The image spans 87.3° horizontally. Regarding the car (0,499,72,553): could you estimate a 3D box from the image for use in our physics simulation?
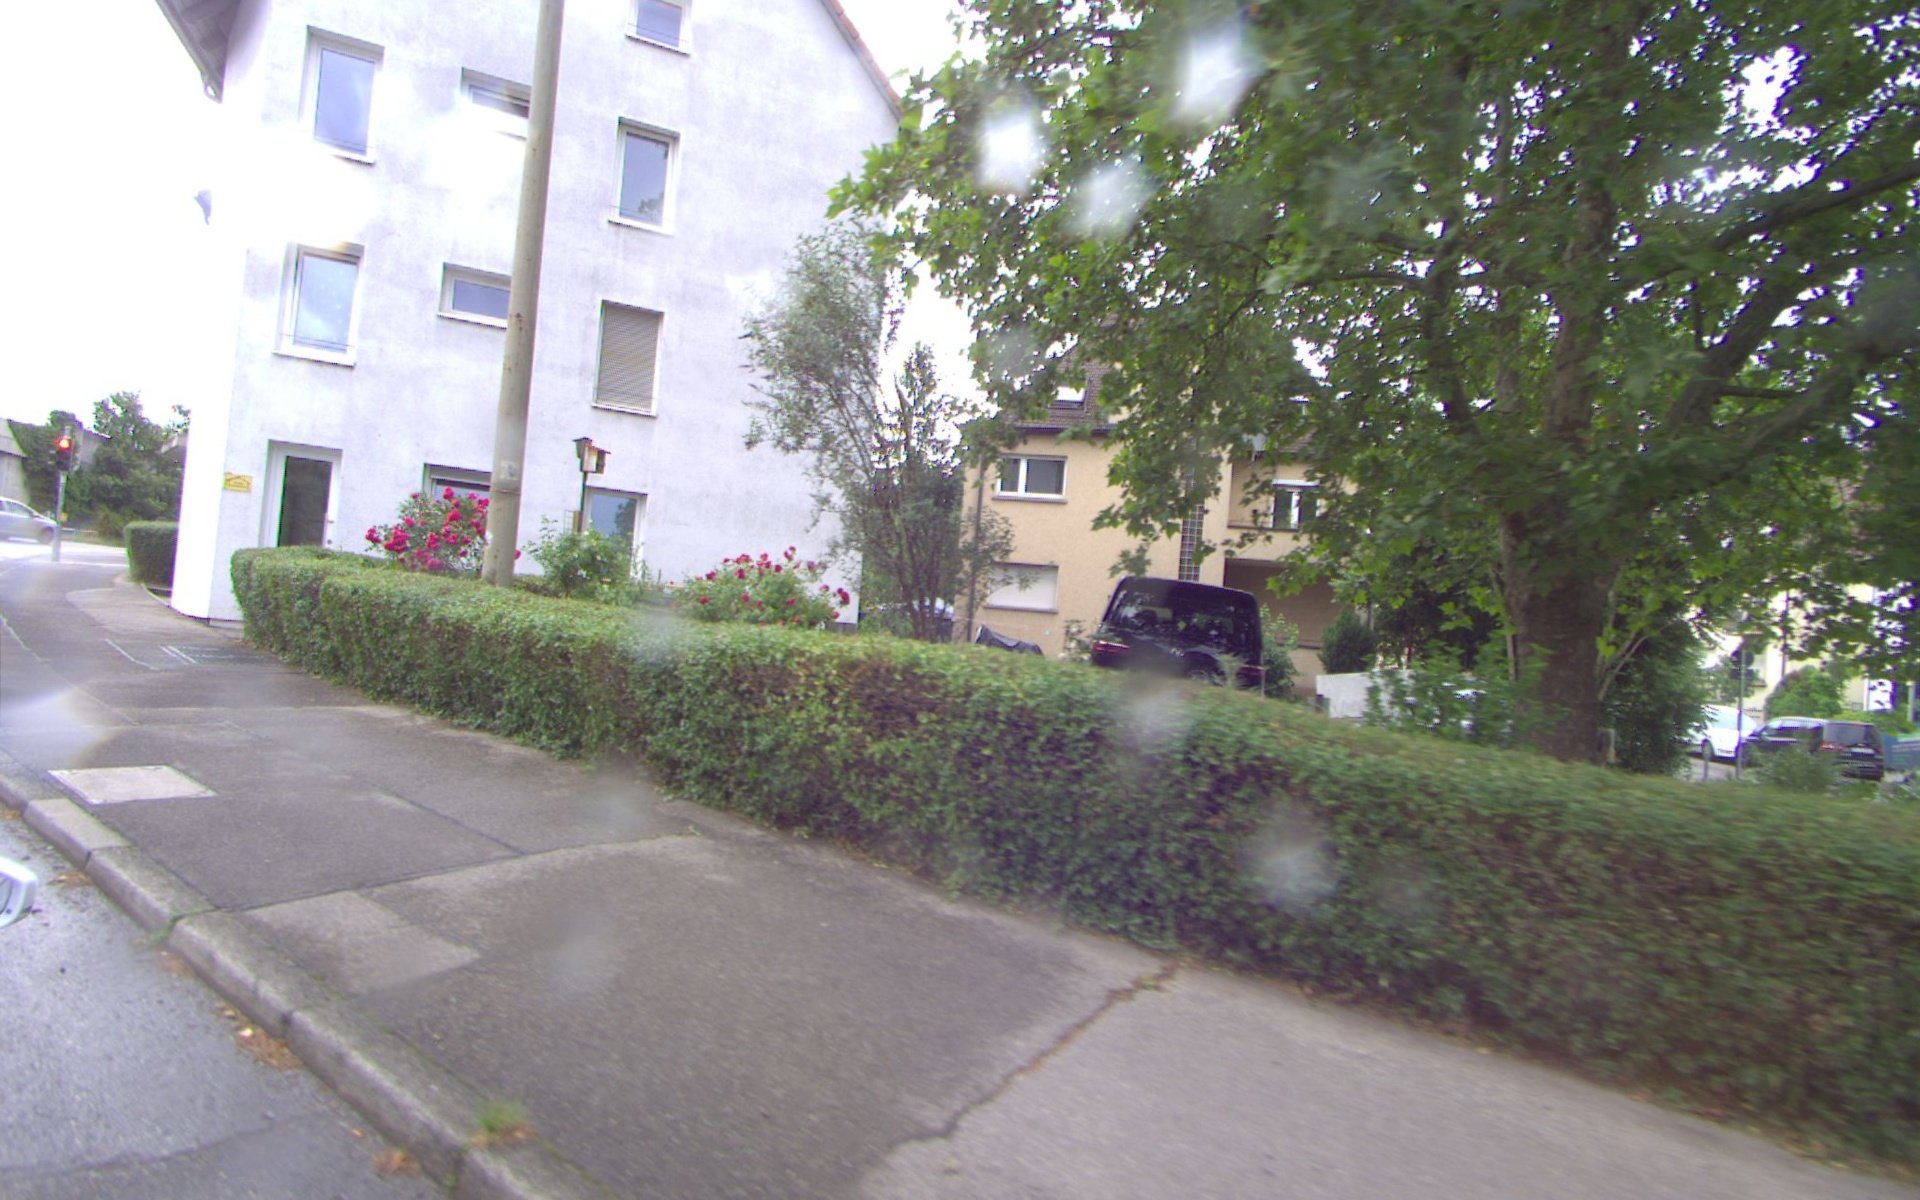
[{"bbox_3d":[-33.131,-2.659,34.292,1.962,1.572,4.003,6,-2,1],"label":"car"}]

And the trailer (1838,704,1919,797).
[{"bbox_3d":[23.679,3.760,24.525,1.640,2.038,3.494,6,-1,9],"label":"trailer"}]

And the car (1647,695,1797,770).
[{"bbox_3d":[25.409,4.367,33.766,1.962,1.861,4.583,6,-1,10],"label":"car"}]

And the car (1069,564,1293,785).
[{"bbox_3d":[2.584,0.818,12.089,1.962,1.955,4.419,6,-1,11],"label":"car"}]

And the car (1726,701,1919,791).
[{"bbox_3d":[24.267,4.039,28.533,1.962,1.861,4.583,6,-1,10],"label":"car"}]

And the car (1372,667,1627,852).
[{"bbox_3d":[6.211,1.715,12.093,1.788,1.599,4.003,6,-1,17],"label":"car"}]
